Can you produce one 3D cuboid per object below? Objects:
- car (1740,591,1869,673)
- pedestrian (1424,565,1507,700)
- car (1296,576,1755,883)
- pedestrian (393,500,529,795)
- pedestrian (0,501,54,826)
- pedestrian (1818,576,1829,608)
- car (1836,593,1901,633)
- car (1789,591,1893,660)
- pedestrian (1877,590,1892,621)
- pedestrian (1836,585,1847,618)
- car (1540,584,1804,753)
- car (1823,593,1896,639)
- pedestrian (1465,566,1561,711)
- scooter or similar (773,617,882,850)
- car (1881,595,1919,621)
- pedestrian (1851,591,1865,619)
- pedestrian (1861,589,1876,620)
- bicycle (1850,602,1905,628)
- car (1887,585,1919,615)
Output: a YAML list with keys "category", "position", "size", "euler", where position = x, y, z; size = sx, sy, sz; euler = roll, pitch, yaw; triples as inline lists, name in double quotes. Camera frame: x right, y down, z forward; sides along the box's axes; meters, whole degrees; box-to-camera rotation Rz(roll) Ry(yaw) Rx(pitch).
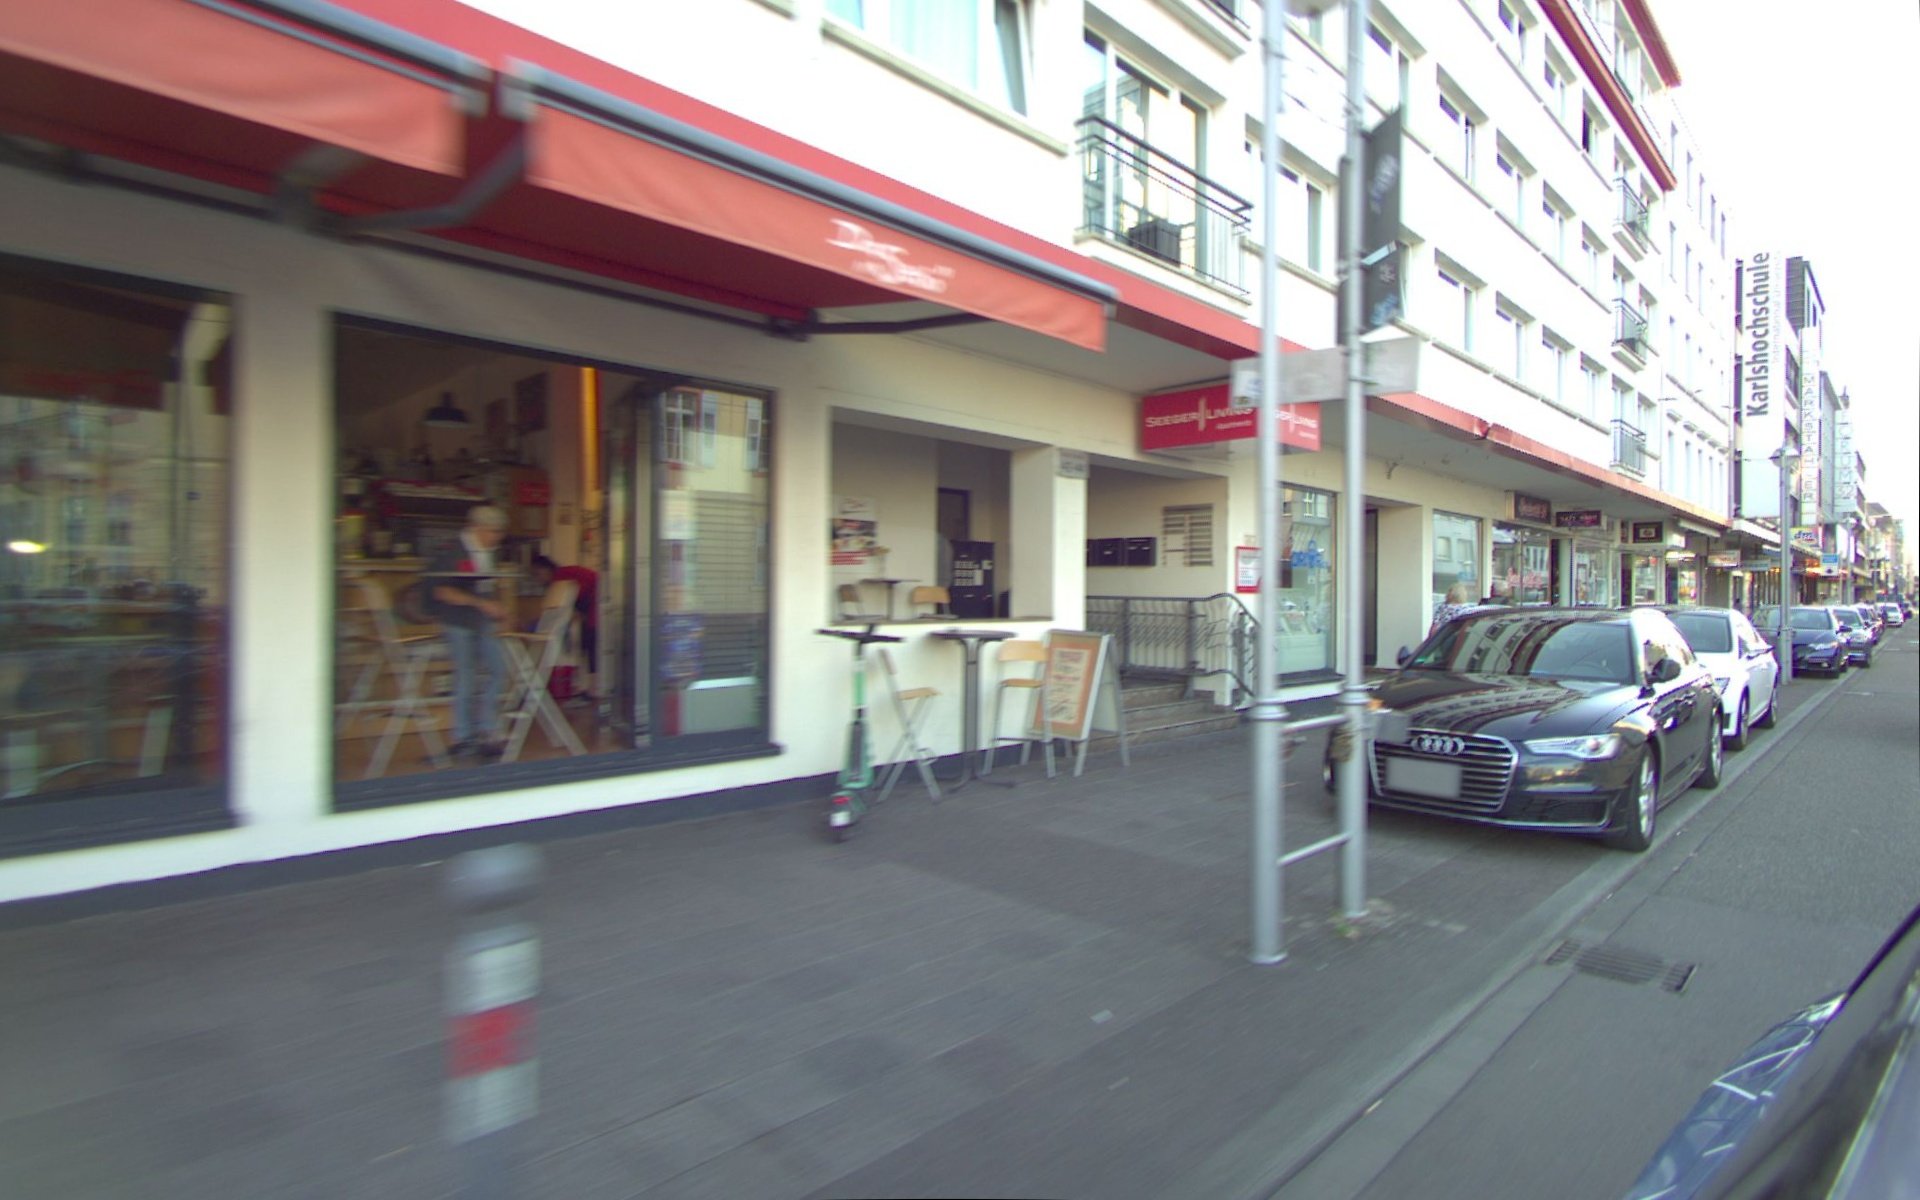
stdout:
- category: "car"
  position: [18.103, 0.607, 21.633]
  size: [1.736, 1.531, 4.234]
  euler: [3, 2, 45]
- category: "pedestrian"
  position: [6.902, 0.418, 13.816]
  size: [0.849, 1.763, 0.729]
  euler: [0, 1, -45]
- category: "car"
  position: [4.366, 0.640, 7.407]
  size: [1.736, 1.531, 4.610]
  euler: [3, 2, 45]
- category: "pedestrian"
  position: [-3.140, 0.285, 6.399]
  size: [0.593, 1.782, 0.527]
  euler: [0, 0, 1]
- category: "pedestrian"
  position: [-4.317, 0.266, 4.366]
  size: [0.519, 1.376, 0.498]
  euler: [0, 0, 34]
- category: "pedestrian"
  position: [51.363, -0.466, 60.224]
  size: [0.451, 1.923, 0.414]
  euler: [1, 0, 45]
- category: "car"
  position: [37.527, 0.501, 41.762]
  size: [1.745, 1.531, 4.189]
  euler: [3, 2, 45]
- category: "car"
  position: [22.496, 0.579, 25.781]
  size: [1.790, 1.531, 4.638]
  euler: [3, 2, 43]
- category: "pedestrian"
  position: [52.687, 0.322, 57.677]
  size: [0.604, 1.749, 0.636]
  euler: [1, 0, 45]
- category: "pedestrian"
  position: [51.323, 0.067, 58.945]
  size: [0.455, 1.923, 0.414]
  euler: [1, 0, 45]
- category: "car"
  position: [8.188, 0.629, 11.499]
  size: [1.786, 1.531, 3.986]
  euler: [3, 2, 45]
- category: "car"
  position: [32.763, 0.546, 36.819]
  size: [1.721, 1.531, 4.100]
  euler: [3, 2, 45]
- category: "pedestrian"
  position: [6.973, 0.453, 12.762]
  size: [0.829, 1.740, 0.827]
  euler: [0, 1, -45]
- category: "scooter or similar"
  position: [-0.762, 0.725, 6.072]
  size: [0.350, 1.217, 1.247]
  euler: [0, 0, 7]
- category: "car"
  position: [60.397, 0.512, 64.990]
  size: [3.822, 1.562, 1.679]
  euler: [0, 2, -45]
- category: "pedestrian"
  position: [67.119, 0.383, 75.628]
  size: [0.710, 2.039, 0.811]
  euler: [1, 0, 44]
- category: "pedestrian"
  position: [52.239, 0.244, 58.174]
  size: [0.609, 1.775, 0.595]
  euler: [1, 0, 45]
- category: "bicycle"
  position: [43.960, 0.710, 48.497]
  size: [1.885, 1.090, 0.666]
  euler: [4, 2, 43]
- category: "car"
  position: [79.196, 0.010, 84.867]
  size: [2.040, 2.415, 5.497]
  euler: [1, 1, 43]
